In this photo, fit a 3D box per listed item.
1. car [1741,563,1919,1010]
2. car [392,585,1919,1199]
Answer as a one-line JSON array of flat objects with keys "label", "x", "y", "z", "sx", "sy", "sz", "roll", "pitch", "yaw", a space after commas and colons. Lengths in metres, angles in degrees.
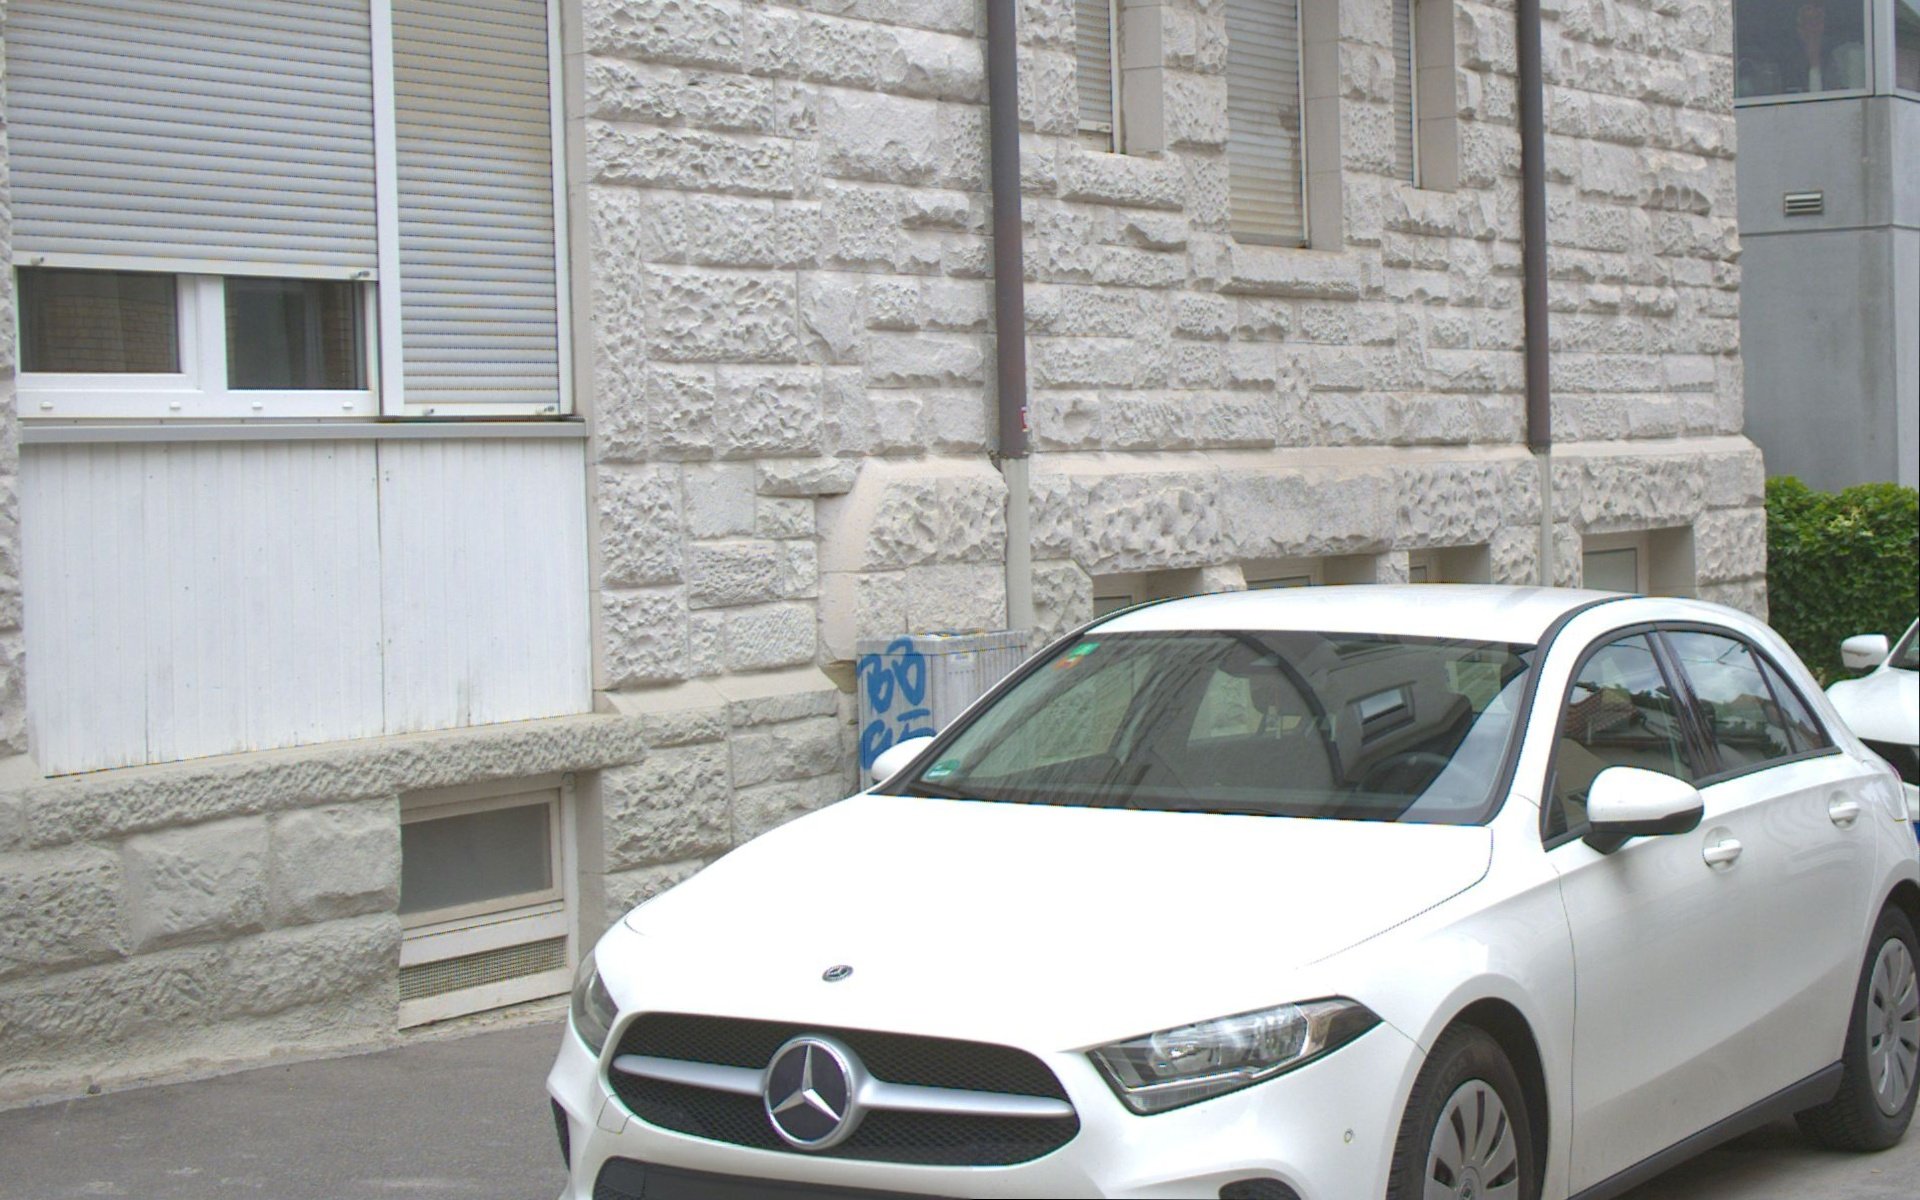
[{"label": "car", "x": 4.623, "y": 0.612, "z": 13.312, "sx": 1.848, "sy": 1.510, "sz": 4.233, "roll": 0, "pitch": 1, "yaw": 32}, {"label": "car", "x": 0.807, "y": 0.694, "z": 7.581, "sx": 1.702, "sy": 1.409, "sz": 4.233, "roll": 0, "pitch": 1, "yaw": 32}]
